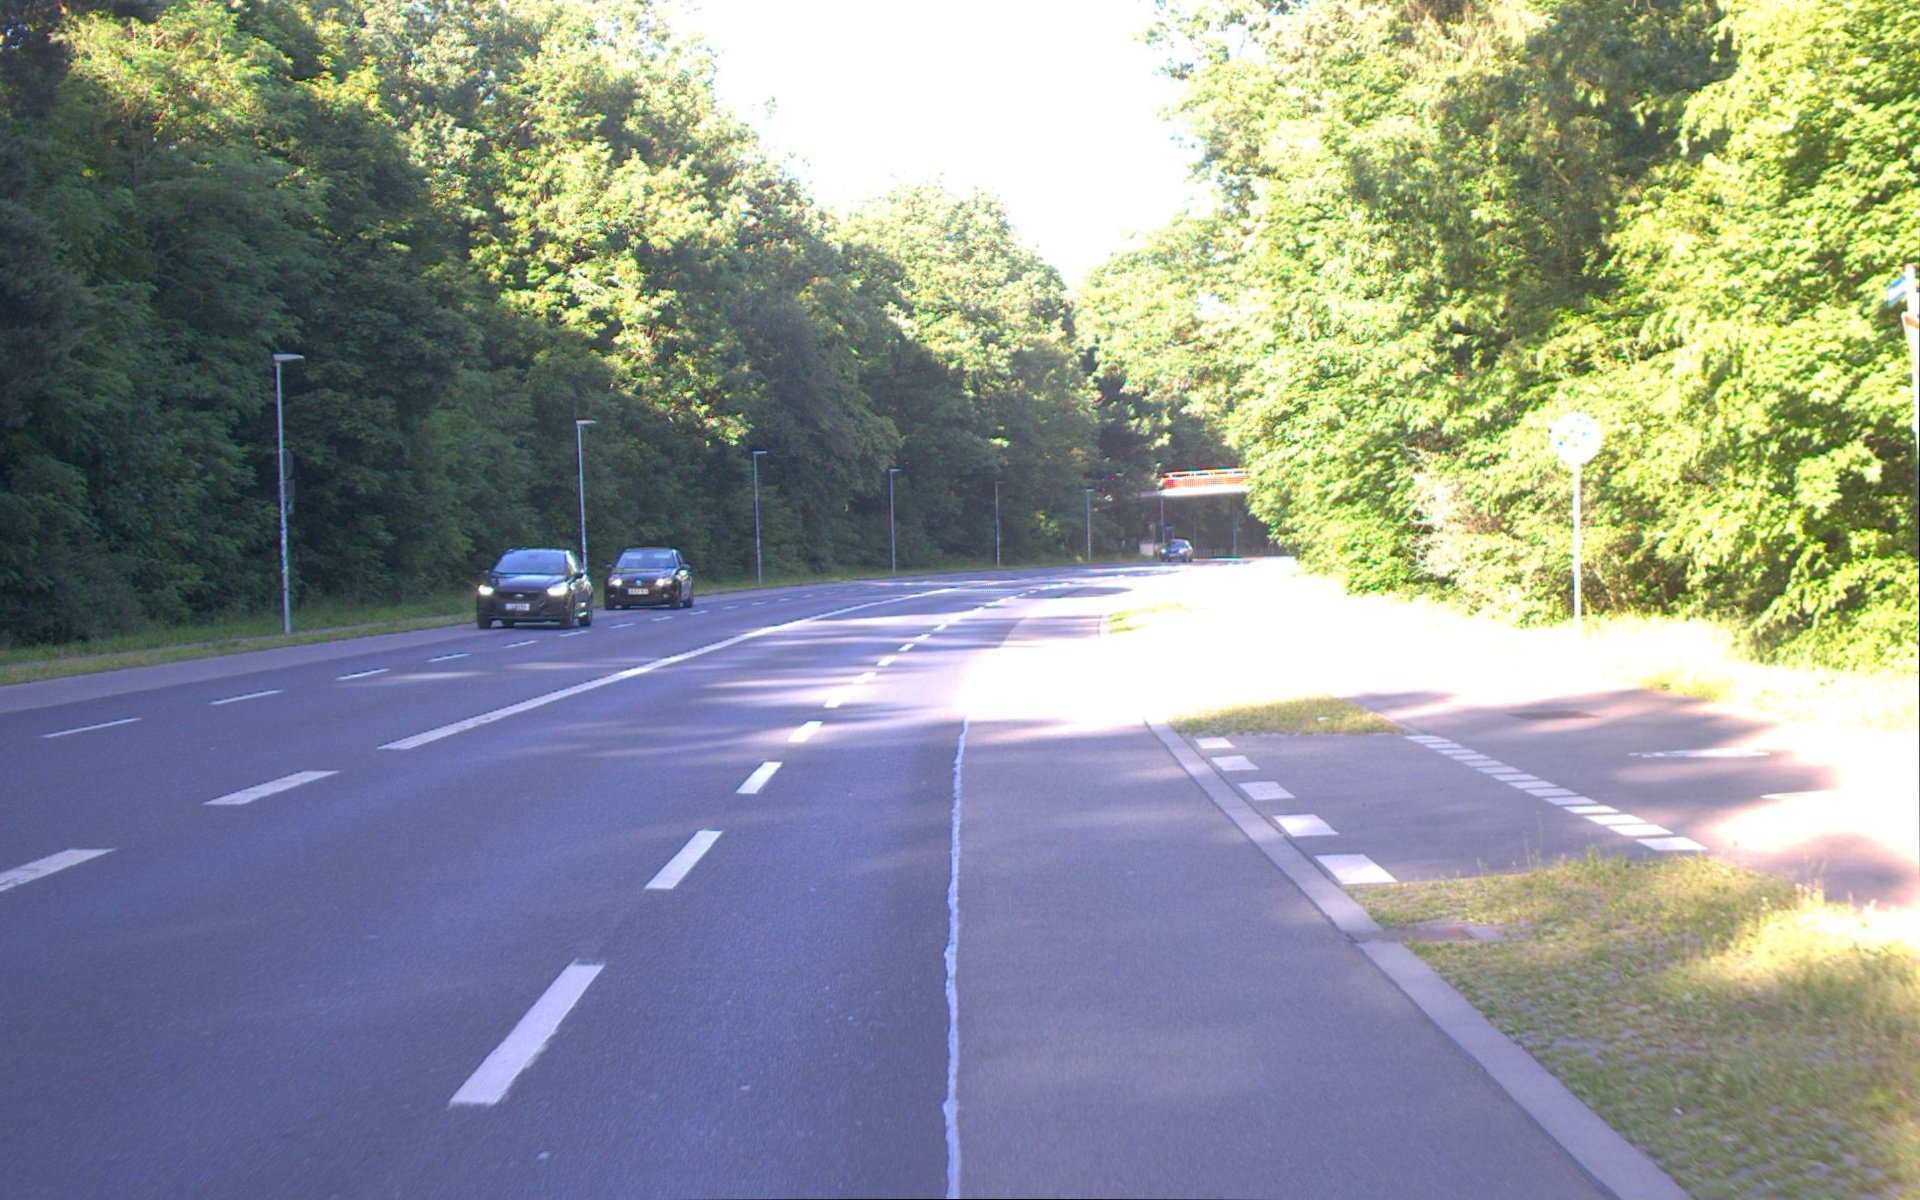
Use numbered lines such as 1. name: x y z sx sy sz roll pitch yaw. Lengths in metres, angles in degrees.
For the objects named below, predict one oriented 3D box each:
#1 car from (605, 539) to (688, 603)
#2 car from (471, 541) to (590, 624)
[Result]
1. car: -7.408 -0.717 81.575 1.657 1.475 4.173 0 1 -1
2. car: -7.897 -0.346 63.551 1.738 1.452 3.999 1 1 -1
